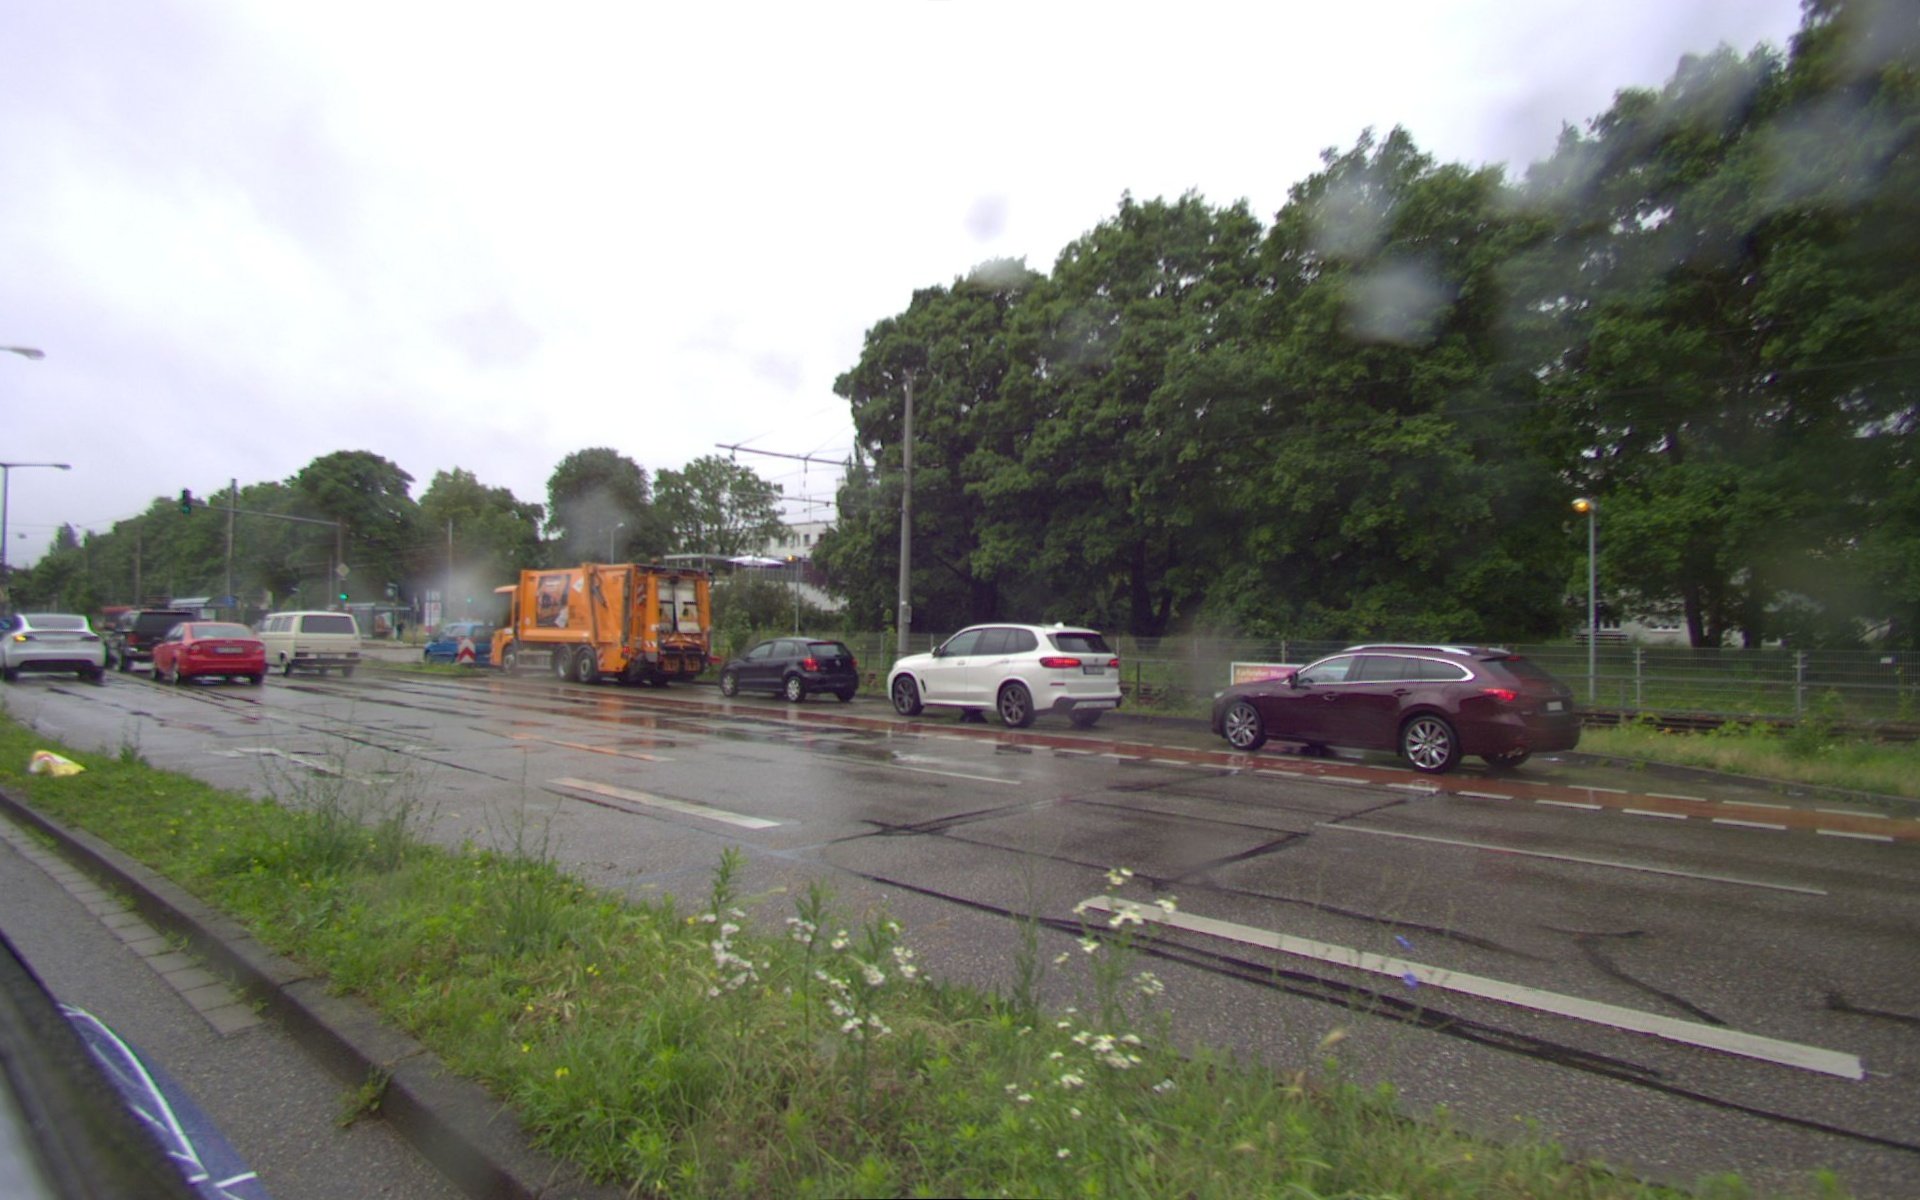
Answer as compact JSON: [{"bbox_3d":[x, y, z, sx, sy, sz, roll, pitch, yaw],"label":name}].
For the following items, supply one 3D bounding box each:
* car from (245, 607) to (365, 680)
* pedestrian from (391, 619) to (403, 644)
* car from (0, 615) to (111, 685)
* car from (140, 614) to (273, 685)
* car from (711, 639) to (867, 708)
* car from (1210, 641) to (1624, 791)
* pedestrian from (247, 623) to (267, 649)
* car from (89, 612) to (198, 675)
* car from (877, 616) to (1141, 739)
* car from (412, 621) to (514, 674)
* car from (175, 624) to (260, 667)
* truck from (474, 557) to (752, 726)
[{"bbox_3d":[-19.848,1.299,30.586,4.743,2.033,1.908,-1,-4,43],"label":"car"},{"bbox_3d":[-40.792,2.279,73.332,0.681,1.806,0.623,-1,0,43],"label":"pedestrian"},{"bbox_3d":[-23.281,1.227,25.778,4.697,1.629,1.939,-1,-3,43],"label":"car"},{"bbox_3d":[-18.768,1.193,25.125,4.428,1.581,1.781,0,-3,42],"label":"car"},{"bbox_3d":[-3.981,1.656,23.272,3.686,1.389,1.570,-1,-4,43],"label":"car"},{"bbox_3d":[5.546,1.306,12.898,1.847,1.497,4.518,2,-2,-34],"label":"car"},{"bbox_3d":[-45.973,2.346,66.199,0.800,1.670,0.776,-1,0,26],"label":"pedestrian"},{"bbox_3d":[-24.924,1.301,30.820,5.089,1.787,1.786,-1,-4,43],"label":"car"},{"bbox_3d":[0.739,1.245,18.262,1.969,1.841,4.778,-1,0,-42],"label":"car"},{"bbox_3d":[-18.322,1.684,37.220,4.528,1.722,1.971,0,0,44],"label":"car"},{"bbox_3d":[-27.440,1.655,37.368,3.998,1.438,1.624,0,-4,41],"label":"car"},{"bbox_3d":[-10.634,1.049,30.058,10.407,4.199,3.348,0,0,43],"label":"truck"}]
